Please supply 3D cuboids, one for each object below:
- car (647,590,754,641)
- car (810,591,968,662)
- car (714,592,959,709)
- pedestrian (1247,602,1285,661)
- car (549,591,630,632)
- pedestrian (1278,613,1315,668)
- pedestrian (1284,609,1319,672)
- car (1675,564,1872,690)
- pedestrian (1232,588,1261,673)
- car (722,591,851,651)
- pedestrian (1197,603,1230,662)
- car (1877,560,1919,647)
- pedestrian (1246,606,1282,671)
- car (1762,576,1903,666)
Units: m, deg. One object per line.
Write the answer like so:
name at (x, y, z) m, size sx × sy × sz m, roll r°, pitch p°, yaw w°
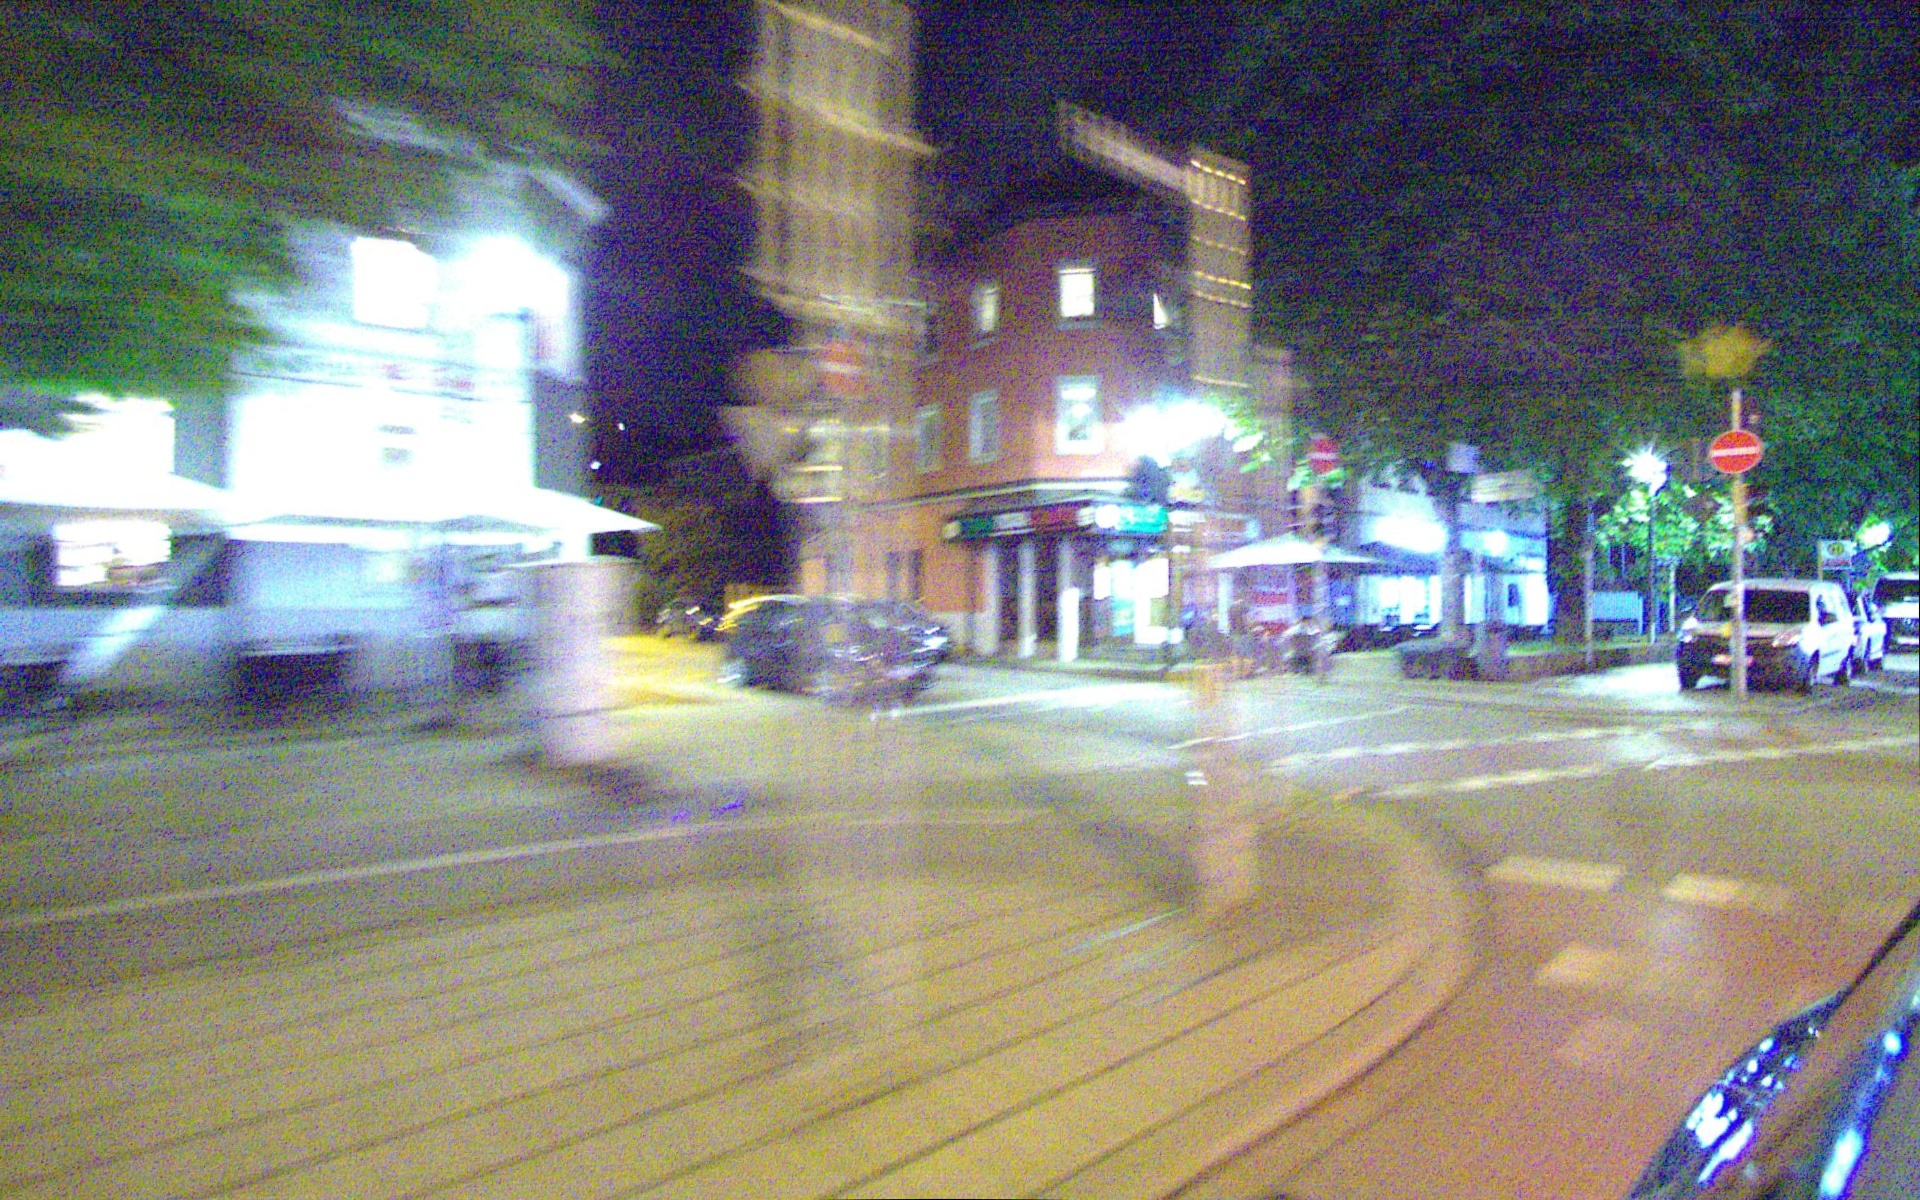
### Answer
car at (-8.582, 0.486, 33.303) m, size 1.771 × 1.569 × 4.151 m, roll 2°, pitch -1°, yaw -40°
car at (-1.830, 0.600, 24.957) m, size 1.771 × 1.569 × 4.151 m, roll 2°, pitch -1°, yaw -40°
car at (-2.087, 0.674, 15.992) m, size 1.772 × 1.550 × 4.324 m, roll -2°, pitch 1°, yaw -40°
pedestrian at (6.703, 0.677, 22.197) m, size 0.518 × 1.280 × 0.685 m, roll 0°, pitch 0°, yaw -12°
car at (-15.211, 0.445, 41.413) m, size 1.771 × 1.569 × 4.151 m, roll 2°, pitch -1°, yaw -40°
pedestrian at (6.786, 0.811, 20.421) m, size 0.492 × 1.067 × 0.530 m, roll 0°, pitch 0°, yaw -10°
pedestrian at (6.556, 0.765, 19.453) m, size 0.508 × 1.183 × 0.391 m, roll 0°, pitch -1°, yaw -4°
car at (13.686, 0.374, 16.924) m, size 4.499 × 1.845 × 1.792 m, roll 0°, pitch 0°, yaw -41°
pedestrian at (5.502, 0.581, 19.457) m, size 0.364 × 1.608 × 0.482 m, roll 0°, pitch -1°, yaw -4°
car at (-5.028, 0.556, 28.958) m, size 1.771 × 1.569 × 4.151 m, roll 2°, pitch -1°, yaw -40°
pedestrian at (5.571, 0.701, 22.241) m, size 0.518 × 1.280 × 0.503 m, roll 0°, pitch 0°, yaw -12°
car at (27.858, 0.085, 28.870) m, size 5.066 × 2.356 × 2.136 m, roll 0°, pitch 0°, yaw -44°
pedestrian at (6.134, 0.767, 20.428) m, size 0.492 × 1.280 × 0.530 m, roll 0°, pitch 0°, yaw -10°
car at (18.141, 0.377, 20.972) m, size 4.223 × 1.680 × 1.686 m, roll 0°, pitch 0°, yaw -42°
